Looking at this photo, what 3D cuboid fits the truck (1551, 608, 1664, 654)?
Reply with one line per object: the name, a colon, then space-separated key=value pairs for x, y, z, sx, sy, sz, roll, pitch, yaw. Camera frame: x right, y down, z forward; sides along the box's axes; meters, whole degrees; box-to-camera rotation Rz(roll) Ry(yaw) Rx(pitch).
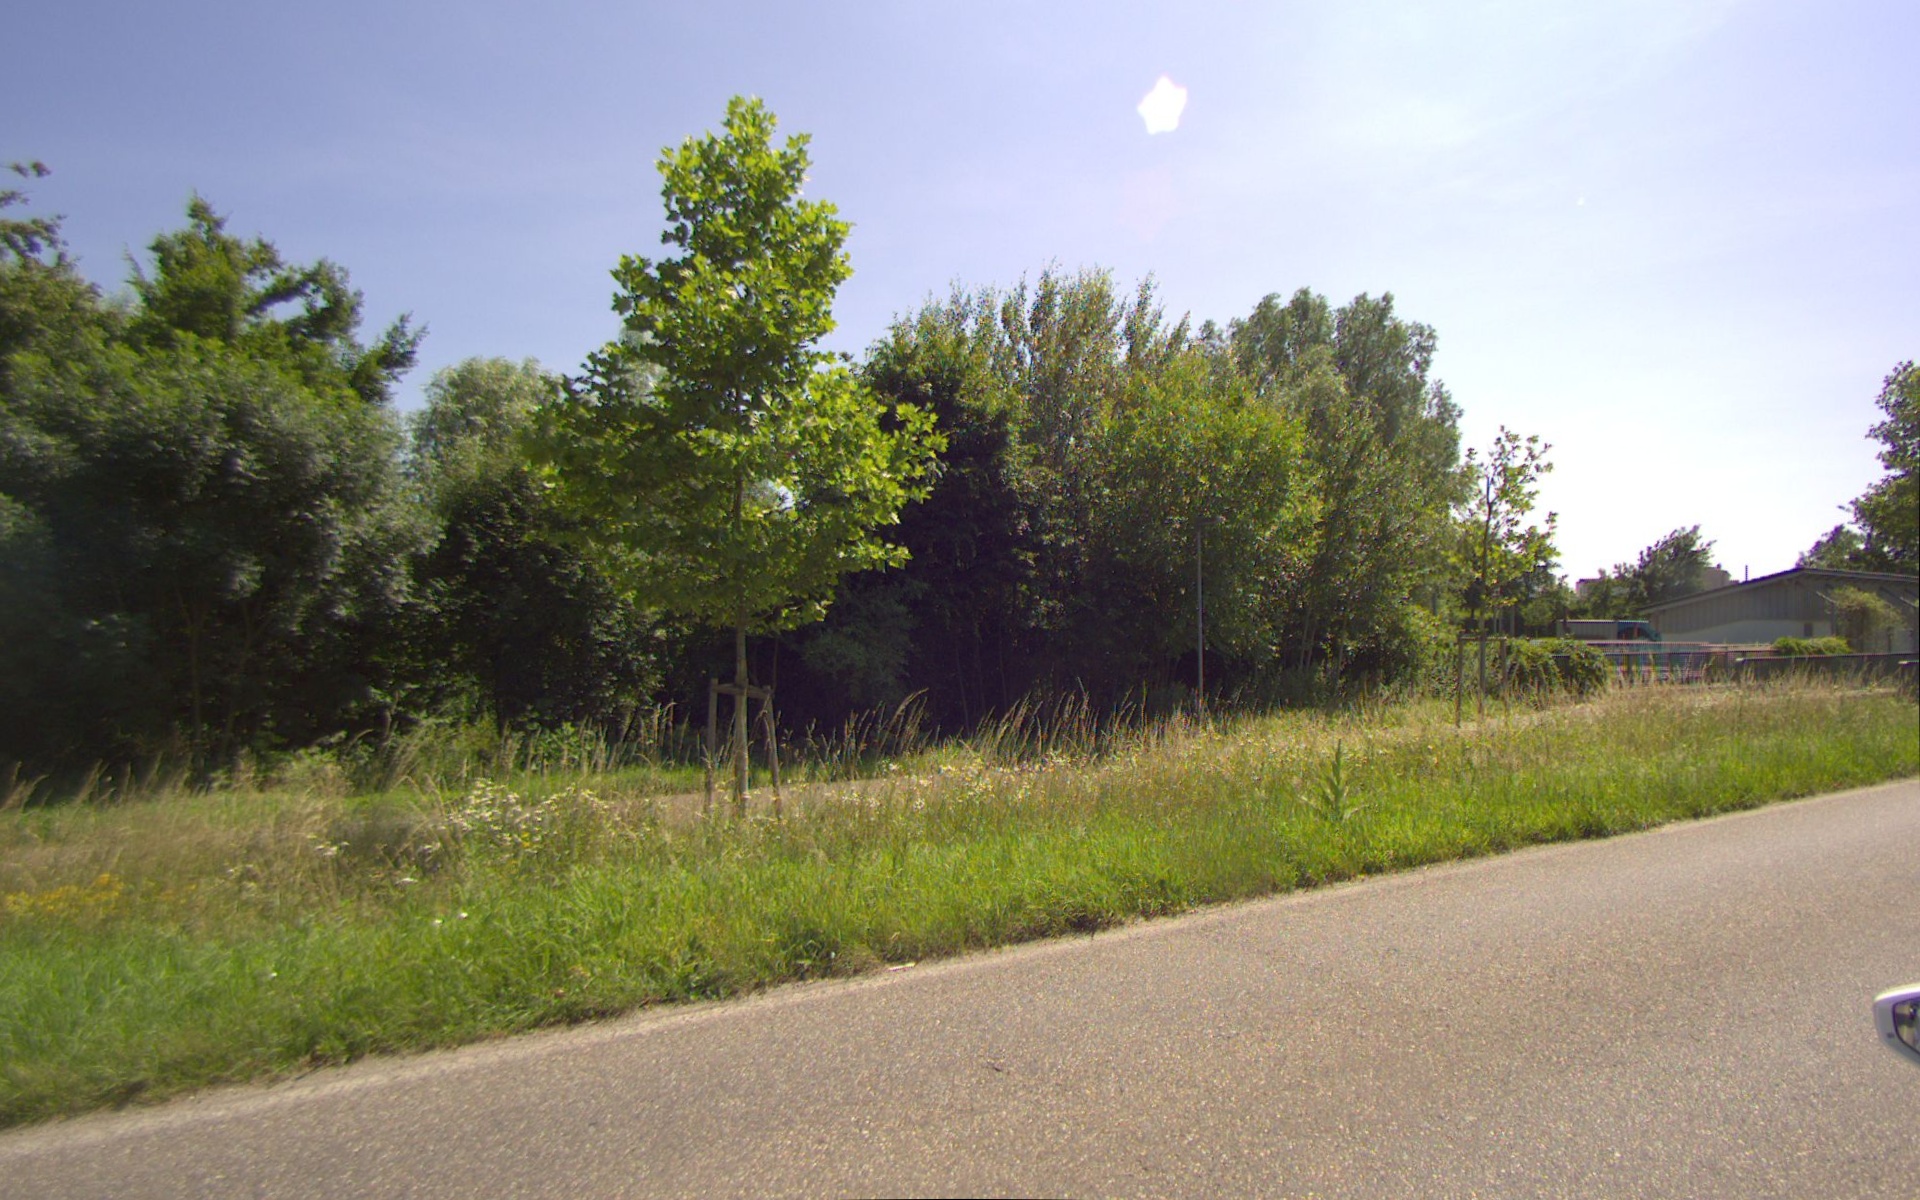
truck: x=33.872 y=1.602 z=52.540 sx=5.111 sy=2.246 sz=2.973 roll=1 pitch=-1 yaw=-30
